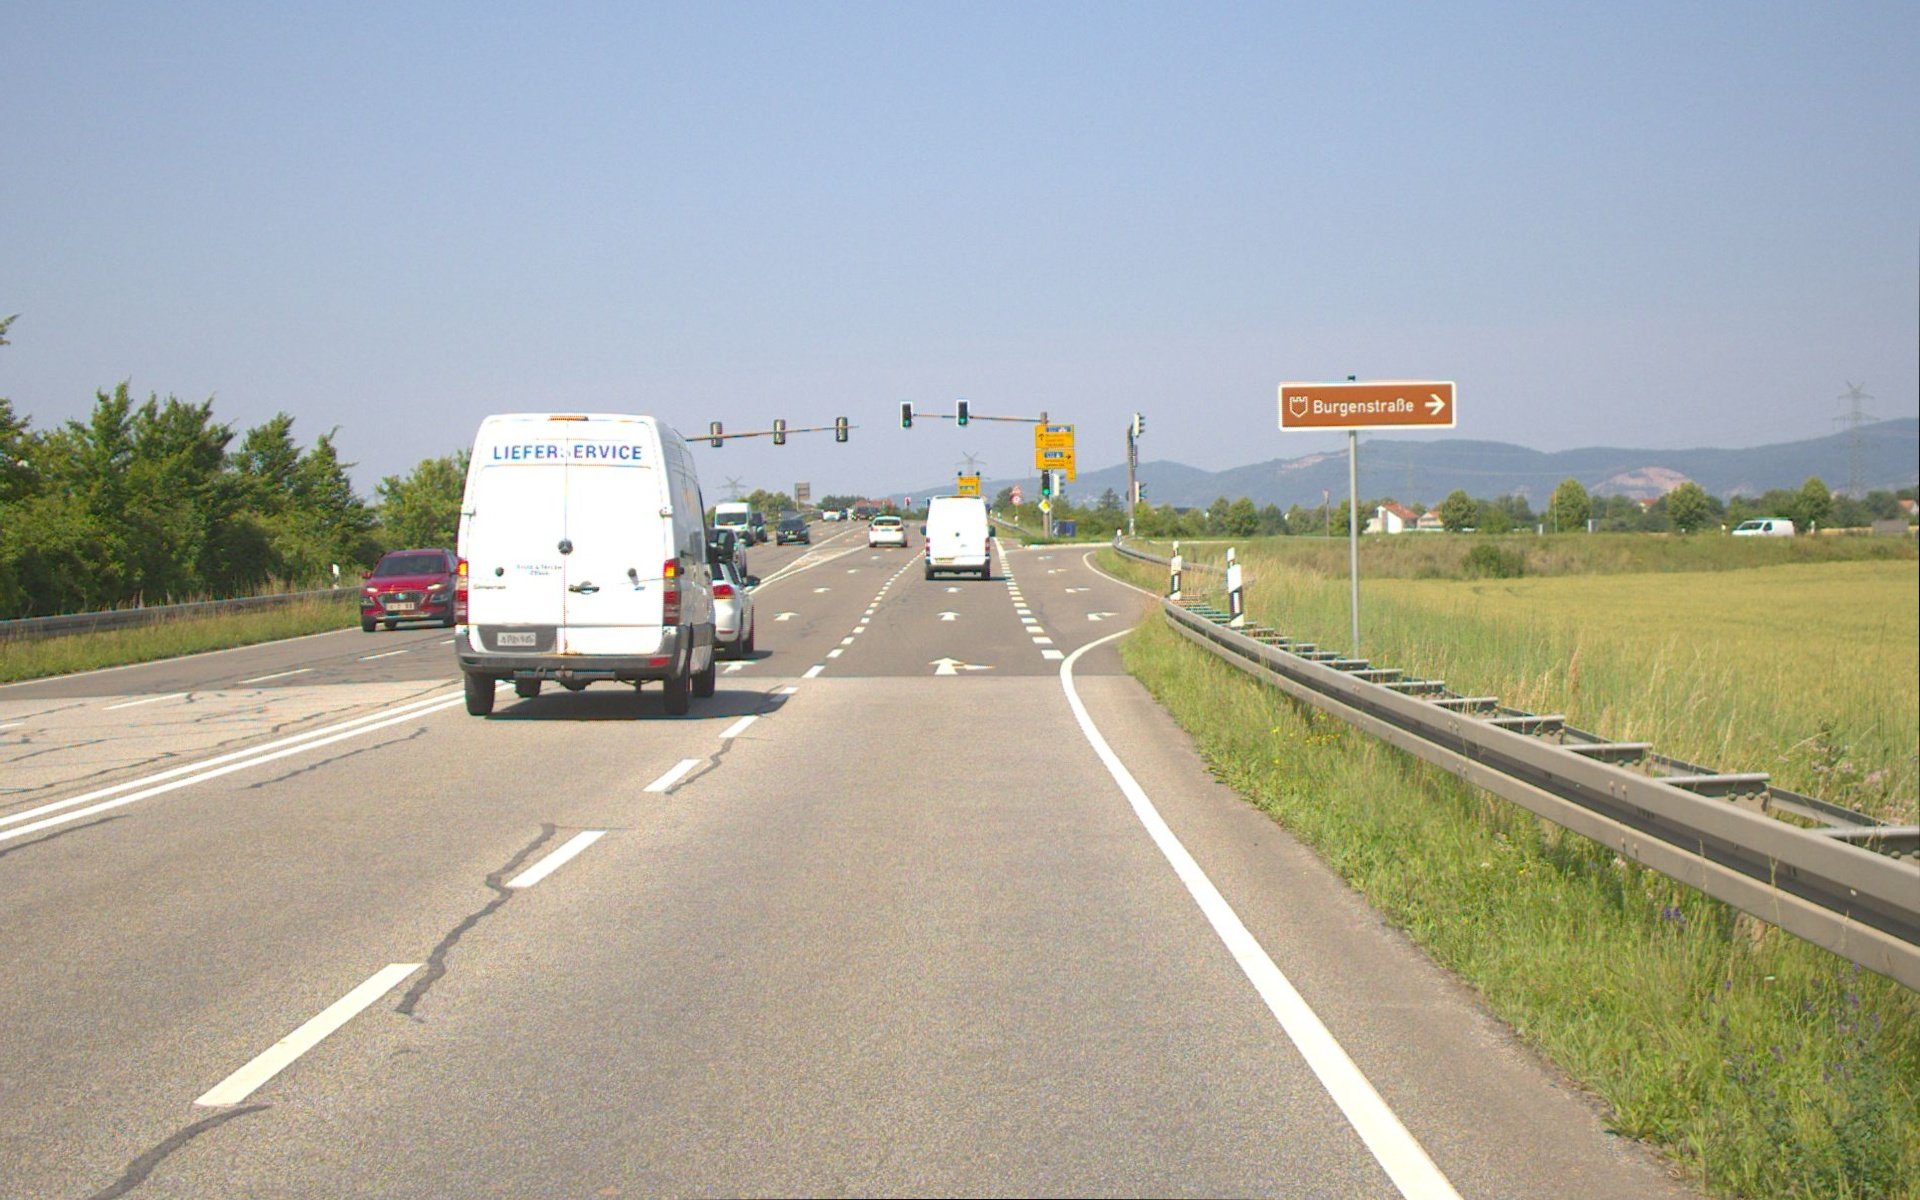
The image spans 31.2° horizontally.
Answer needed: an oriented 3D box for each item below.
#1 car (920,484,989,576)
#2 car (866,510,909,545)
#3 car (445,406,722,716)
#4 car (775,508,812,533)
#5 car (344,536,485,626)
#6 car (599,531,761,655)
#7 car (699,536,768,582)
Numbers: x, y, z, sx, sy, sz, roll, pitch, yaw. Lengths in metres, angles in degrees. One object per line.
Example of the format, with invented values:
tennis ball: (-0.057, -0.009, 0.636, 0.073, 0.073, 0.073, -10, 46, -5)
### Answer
car: (-0.165, -2.138, 105.702, 1.993, 2.686, 4.970, -2, 1, 0)
car: (-3.607, -3.601, 171.878, 1.993, 1.697, 4.275, 0, 1, 0)
car: (-3.379, -0.358, 31.930, 2.039, 2.611, 5.741, 0, 1, -1)
car: (-9.528, -4.549, 197.016, 1.857, 1.418, 4.000, 0, 1, 1)
car: (-10.756, -0.400, 68.107, 1.993, 1.556, 4.311, -3, 2, 1)
car: (-3.655, -0.129, 45.501, 1.799, 1.503, 4.196, -1, 2, 0)
car: (-7.442, -1.364, 113.089, 1.857, 1.418, 4.000, -2, 1, 1)
